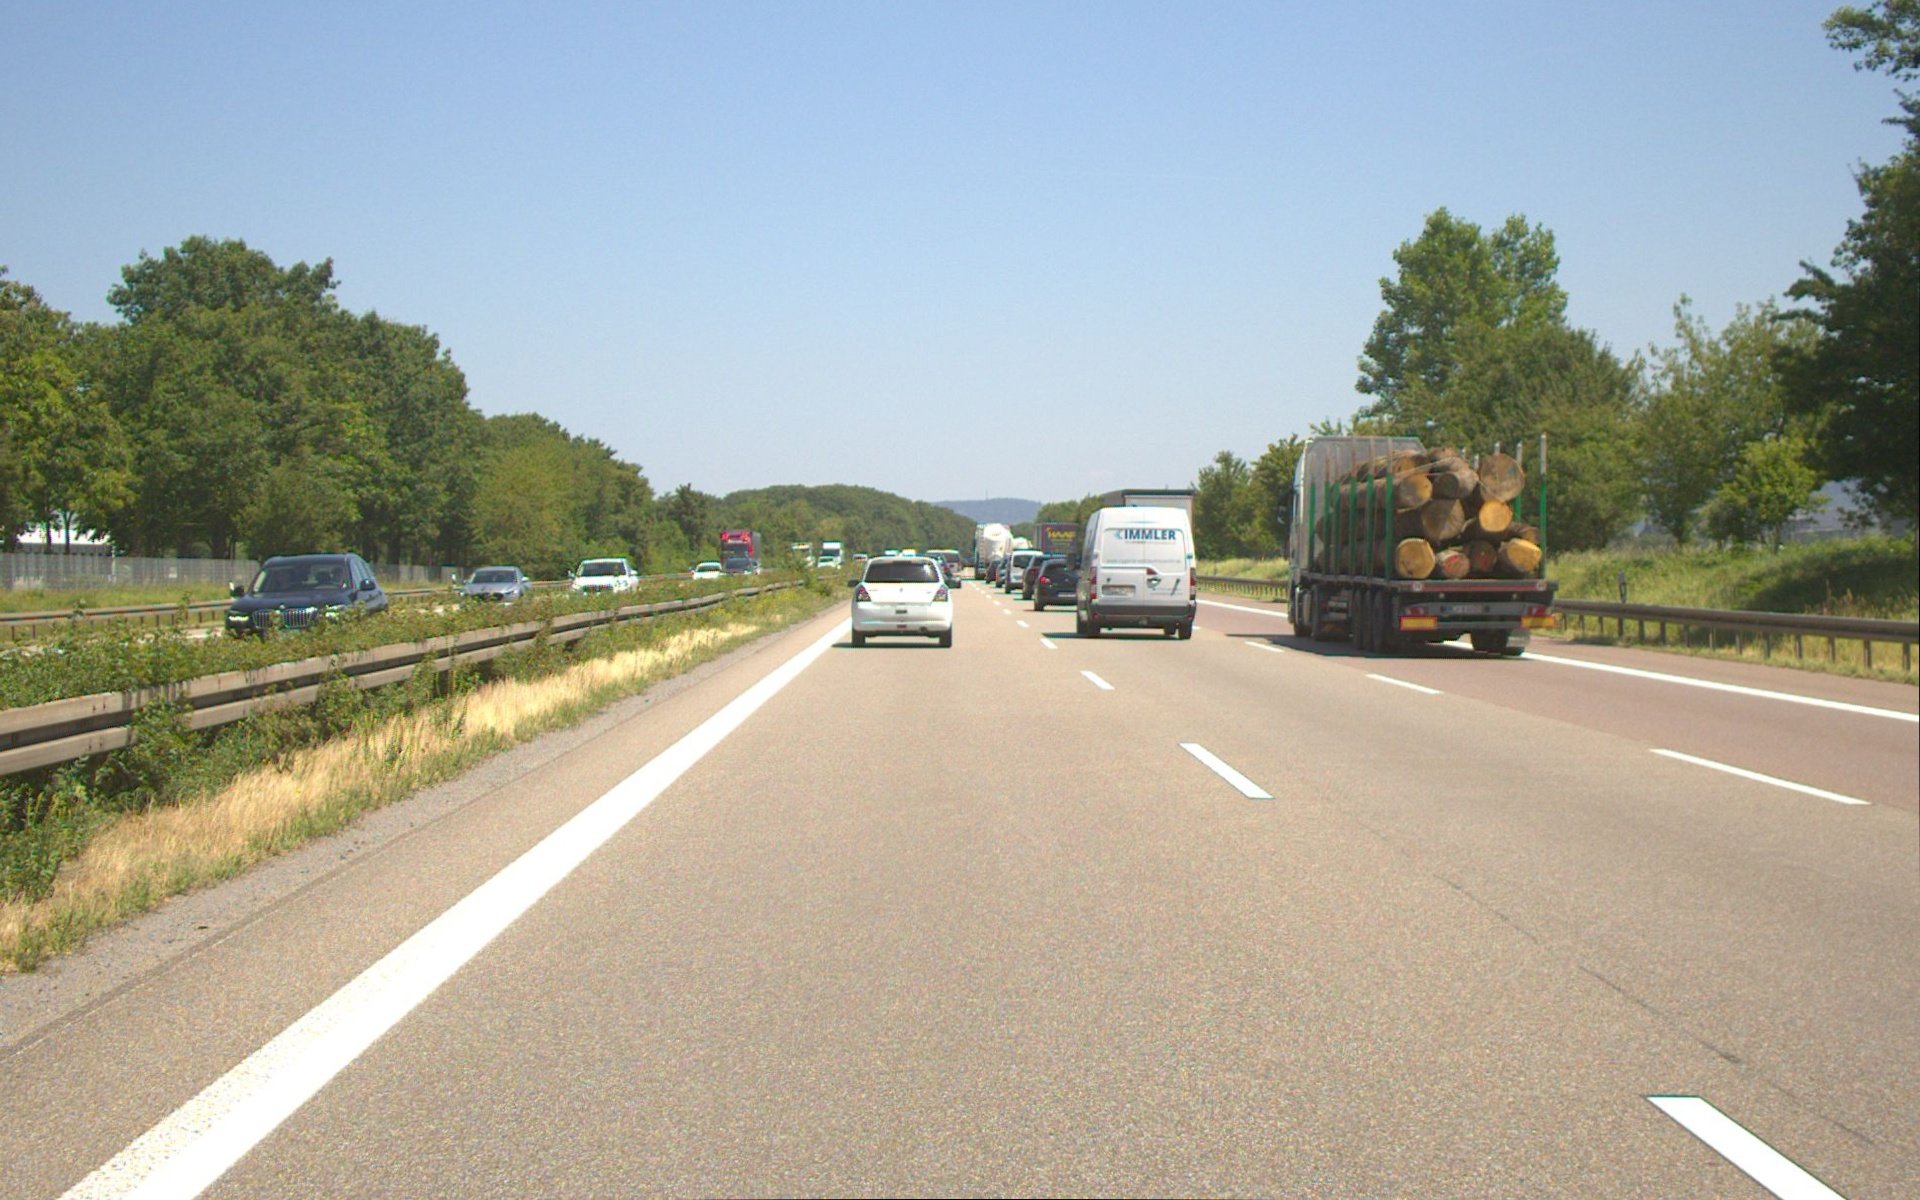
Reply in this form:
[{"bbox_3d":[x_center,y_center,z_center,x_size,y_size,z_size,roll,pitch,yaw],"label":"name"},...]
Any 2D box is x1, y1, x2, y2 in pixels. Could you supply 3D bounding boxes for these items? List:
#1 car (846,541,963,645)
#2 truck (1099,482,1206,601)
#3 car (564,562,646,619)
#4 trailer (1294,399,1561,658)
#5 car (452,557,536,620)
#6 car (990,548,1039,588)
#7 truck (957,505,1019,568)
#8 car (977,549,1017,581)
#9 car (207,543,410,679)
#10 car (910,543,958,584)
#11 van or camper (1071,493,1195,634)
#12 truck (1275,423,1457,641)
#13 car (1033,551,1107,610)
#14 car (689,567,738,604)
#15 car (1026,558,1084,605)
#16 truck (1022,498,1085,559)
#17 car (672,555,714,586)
[{"bbox_3d":[-0.970,-0.131,58.238,1.857,1.646,4.000,2,1,-2],"label":"car"},{"bbox_3d":[7.206,-2.182,131.254,3.079,4.194,16.843,2,1,0],"label":"truck"},{"bbox_3d":[-10.696,-0.302,103.890,1.993,1.634,4.573,2,1,0],"label":"car"},{"bbox_3d":[7.857,-1.195,59.780,2.653,3.945,13.637,1,1,0],"label":"trailer"},{"bbox_3d":[-13.736,-0.357,101.542,1.872,1.788,4.424,2,1,0],"label":"car"},{"bbox_3d":[2.310,-1.365,145.729,1.857,1.646,4.000,1,1,-2],"label":"car"},{"bbox_3d":[1.878,-4.392,241.247,3.257,4.194,16.845,2,1,-3],"label":"truck"},{"bbox_3d":[1.882,-1.800,176.444,1.857,1.646,4.000,1,1,-2],"label":"car"},{"bbox_3d":[-9.738,0.129,51.828,1.993,1.880,5.648,2,1,-1],"label":"car"},{"bbox_3d":[-1.096,-1.536,143.581,1.857,1.646,4.000,1,1,-2],"label":"car"},{"bbox_3d":[3.320,-0.719,67.138,2.058,2.613,5.985,1,1,0],"label":"van or camper"},{"bbox_3d":[7.813,-1.305,66.916,2.670,3.981,6.636,1,1,0],"label":"truck"},{"bbox_3d":[3.146,-0.571,98.909,1.857,1.646,4.000,1,1,-2],"label":"car"},{"bbox_3d":[-12.128,-0.738,169.538,1.993,1.634,4.859,-4,1,0],"label":"car"},{"bbox_3d":[3.440,-0.682,124.990,1.857,1.646,4.000,1,1,-2],"label":"car"},{"bbox_3d":[6.762,-5.131,250.795,3.257,4.194,16.845,2,1,-3],"label":"truck"},{"bbox_3d":[-15.239,-1.692,196.406,1.993,1.634,4.859,-4,1,-1],"label":"car"}]
